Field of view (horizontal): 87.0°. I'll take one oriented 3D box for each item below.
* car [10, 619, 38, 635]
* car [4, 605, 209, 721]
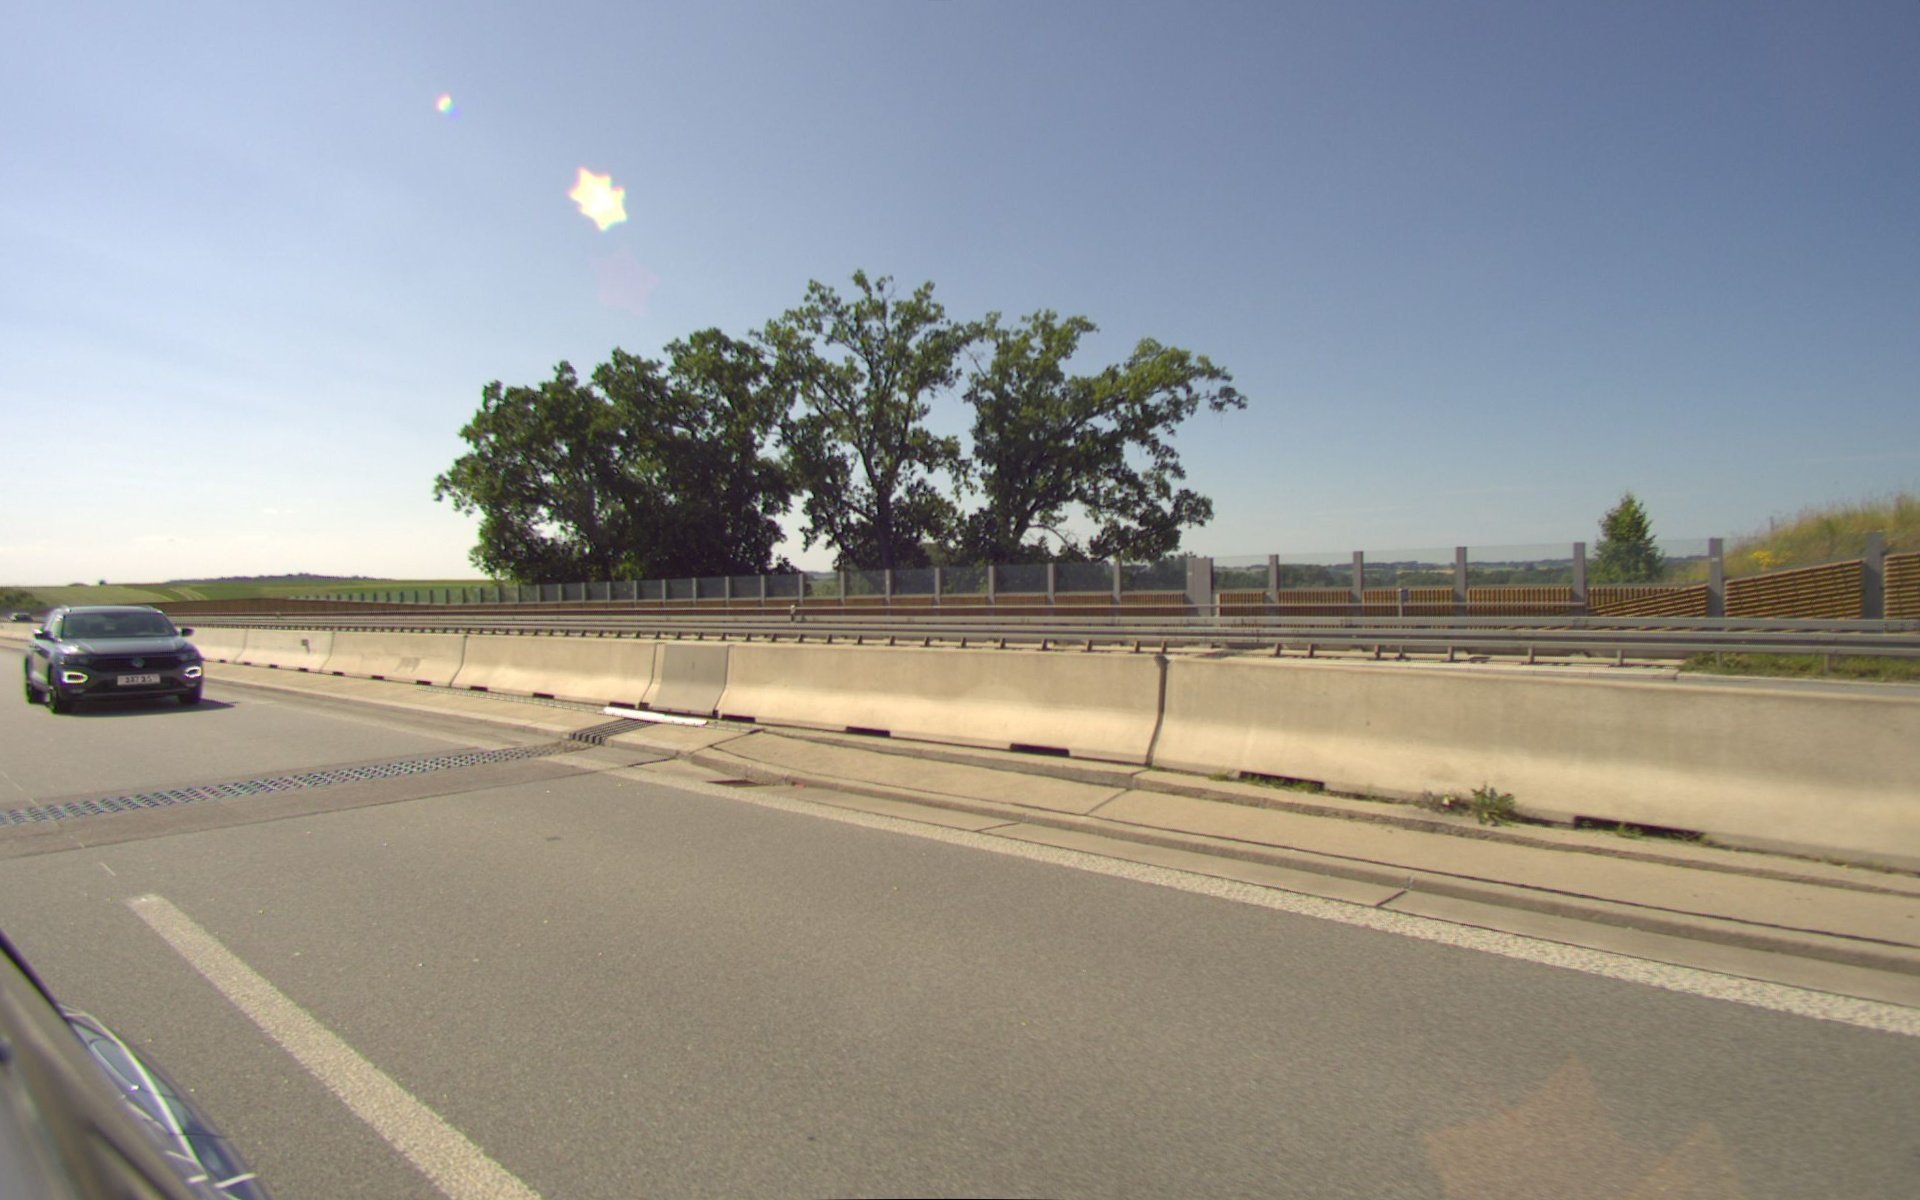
[{"bbox_3d":[-92.563,2.665,100.101,4.447,1.469,1.563,-1,0,41],"label":"car"},{"bbox_3d":[-13.865,0.909,16.318,4.985,1.581,1.754,-1,0,41],"label":"car"}]
